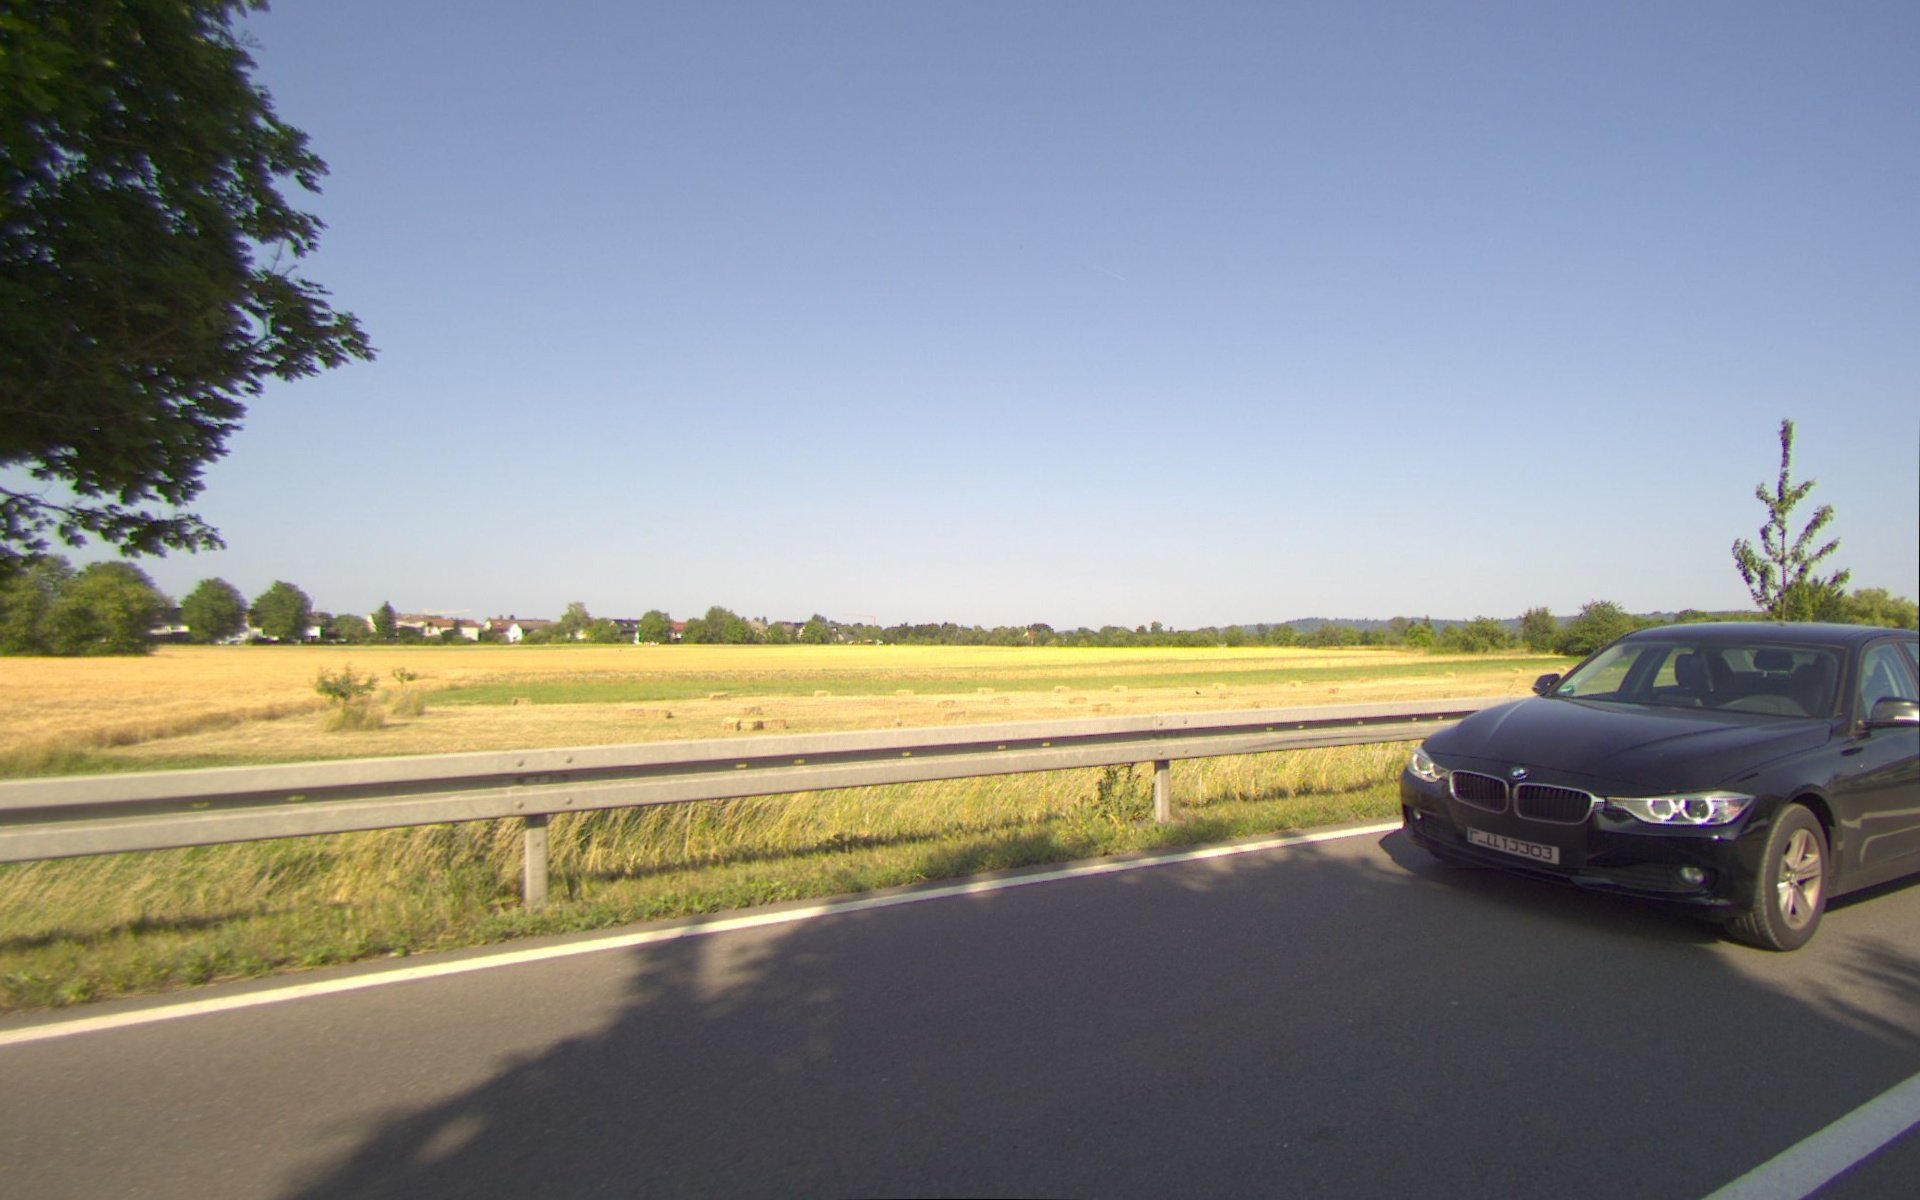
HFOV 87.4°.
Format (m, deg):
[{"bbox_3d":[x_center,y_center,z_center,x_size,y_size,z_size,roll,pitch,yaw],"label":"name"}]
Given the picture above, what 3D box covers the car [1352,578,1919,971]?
[{"bbox_3d":[4.469,0.788,5.849,4.195,1.564,1.829,3,-1,-30],"label":"car"}]
